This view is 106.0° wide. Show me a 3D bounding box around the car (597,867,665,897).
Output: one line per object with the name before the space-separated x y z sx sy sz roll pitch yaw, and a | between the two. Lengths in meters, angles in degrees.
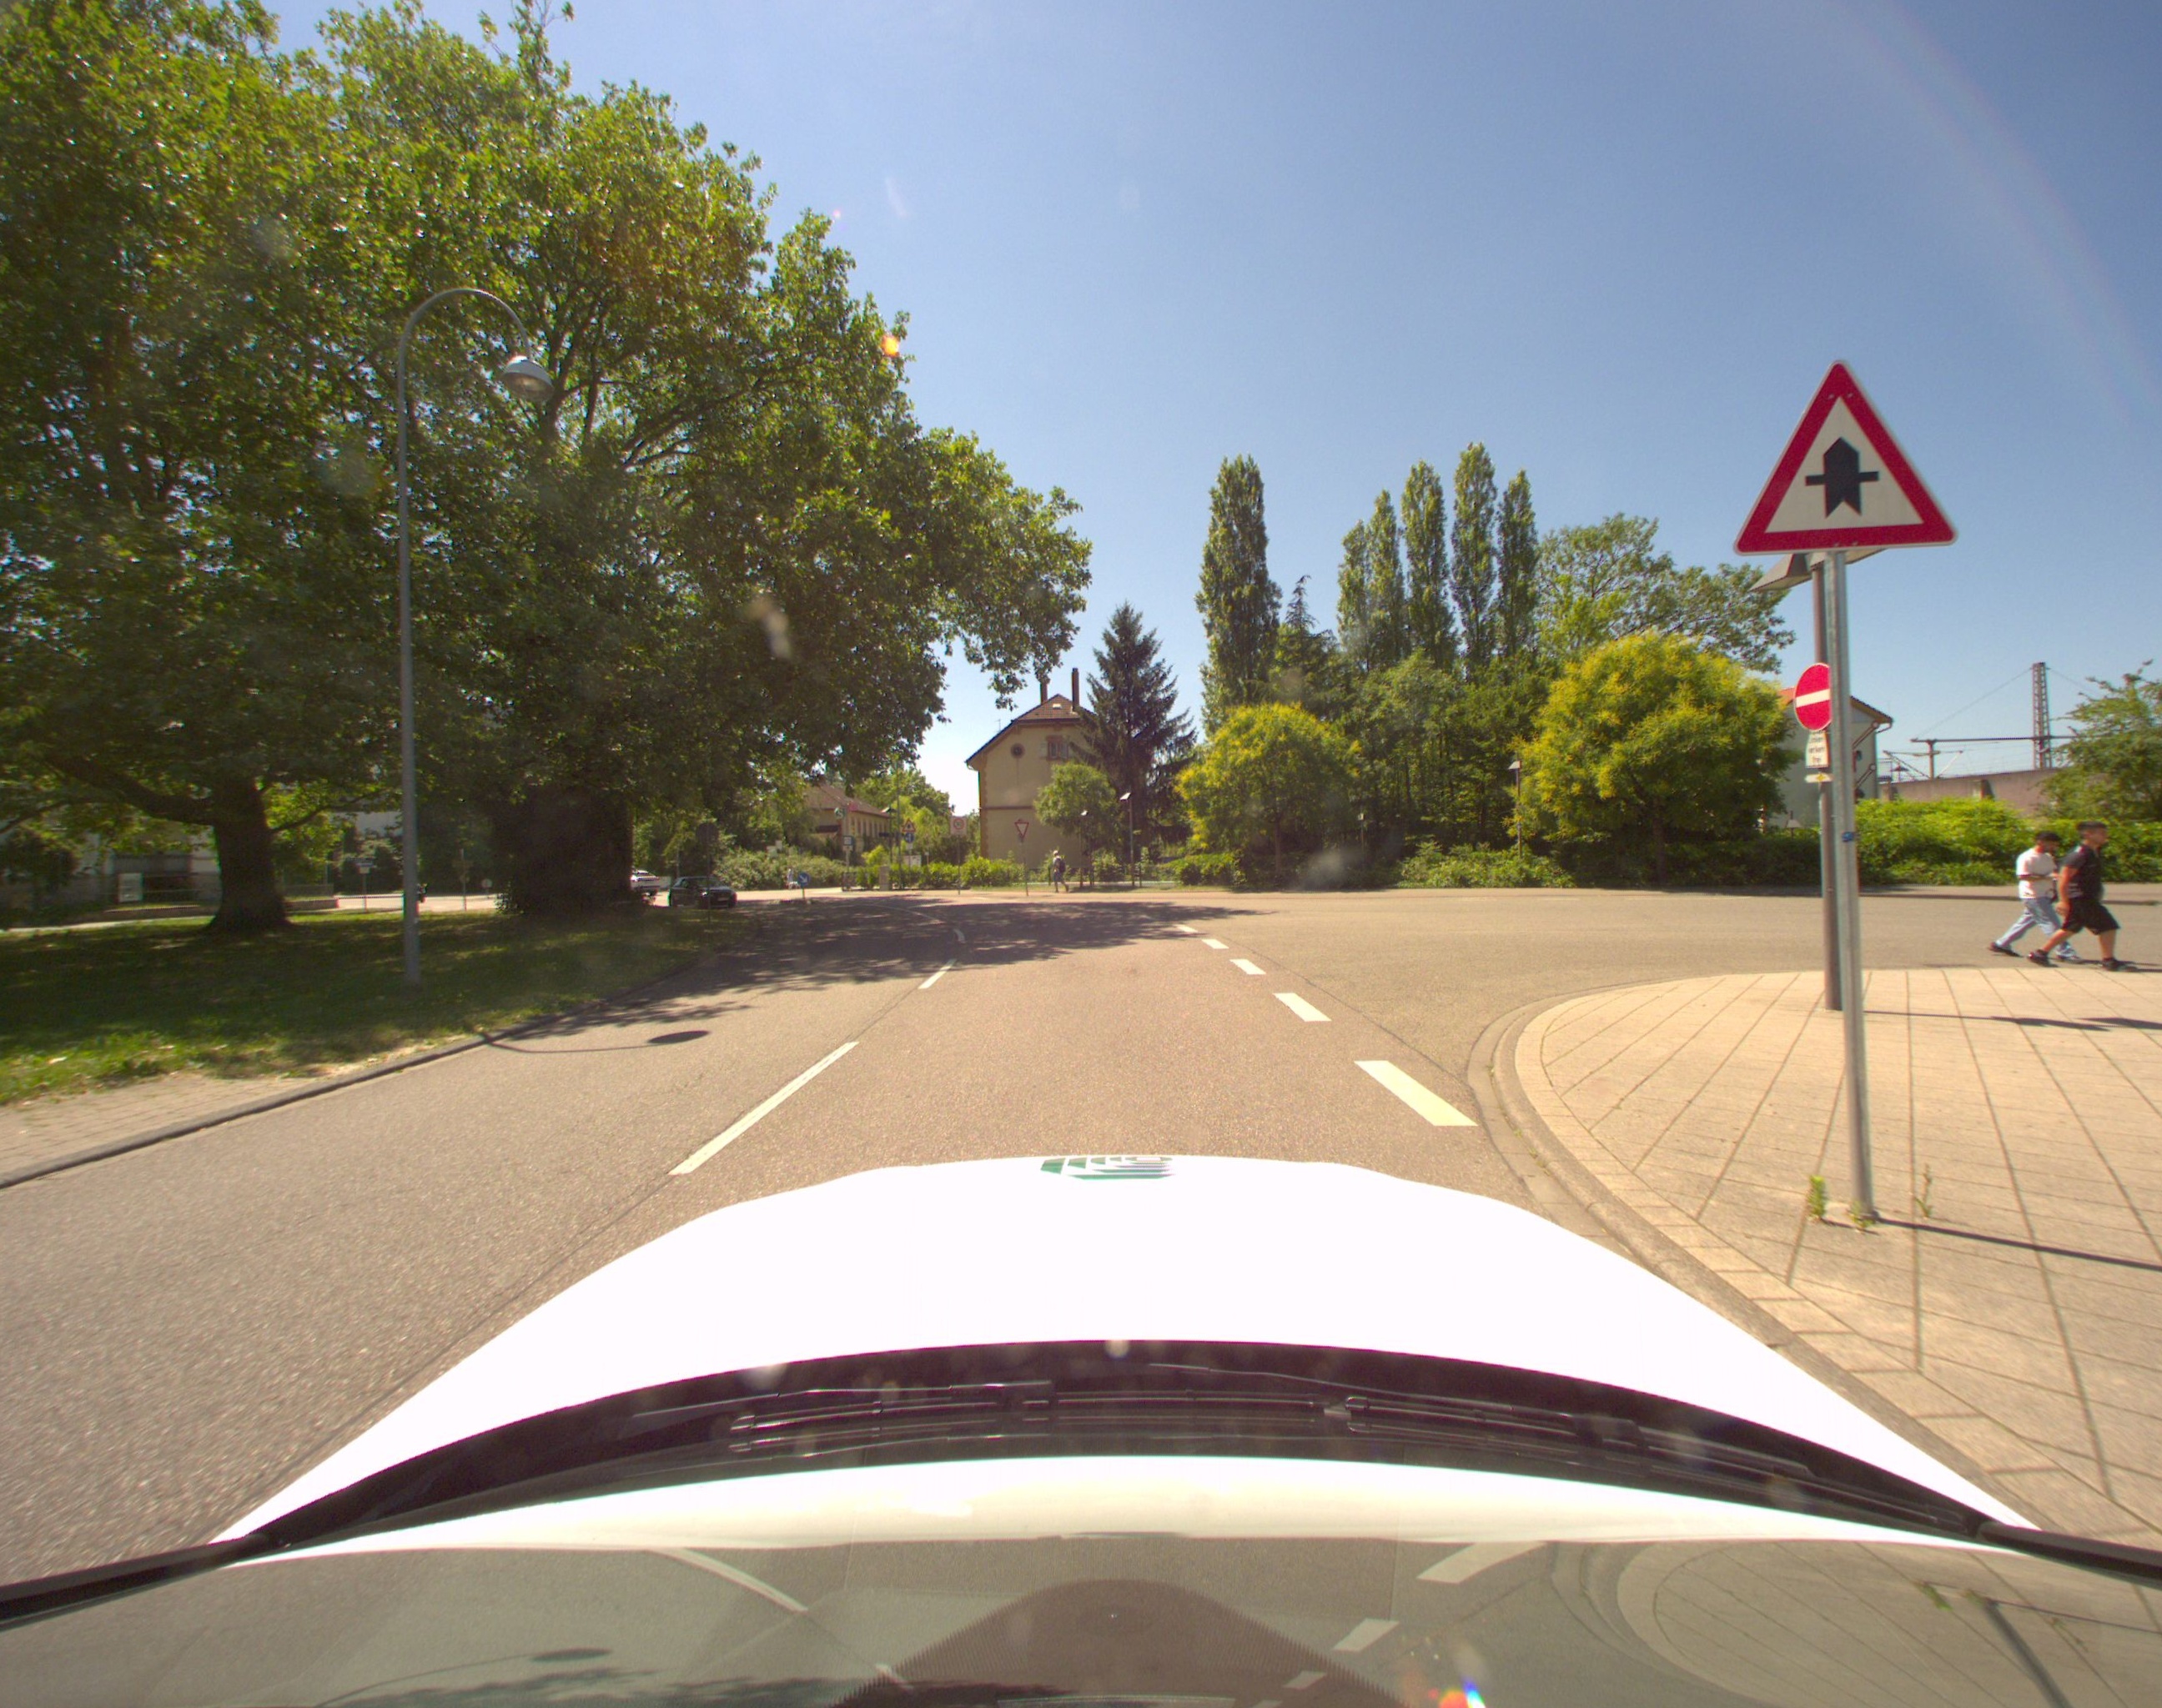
car | -28.927 1.834 52.341 4.413 1.615 1.954 -4 -8 34

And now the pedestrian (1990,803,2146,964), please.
pedestrian | 11.554 0.336 9.571 0.688 1.785 0.917 -2 -1 8

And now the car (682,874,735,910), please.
car | -16.506 1.637 36.016 1.652 1.417 3.960 -3 1 -31

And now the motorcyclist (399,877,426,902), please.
motorcyclist | -44.033 2.336 53.668 1.096 1.555 0.810 -2 -1 3

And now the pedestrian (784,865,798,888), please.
pedestrian | -20.490 1.566 57.558 0.691 1.627 0.621 0 0 34

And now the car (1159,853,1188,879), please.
car | 5.675 0.712 50.248 1.642 1.536 3.976 -2 0 6

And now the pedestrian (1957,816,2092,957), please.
pedestrian | 12.196 0.407 10.564 0.669 1.736 0.917 -2 -1 10

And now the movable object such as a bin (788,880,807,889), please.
movable object such as a bin | -19.869 2.151 57.109 0.510 0.594 1.250 -2 0 31

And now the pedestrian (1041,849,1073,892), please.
pedestrian | -1.026 0.729 35.277 0.920 1.771 0.905 -5 2 -38

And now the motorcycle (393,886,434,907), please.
motorcycle | -43.957 2.790 53.657 2.035 1.231 0.810 -2 -1 3

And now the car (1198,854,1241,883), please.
car | 7.748 0.774 45.756 1.758 1.499 4.502 -2 0 2
